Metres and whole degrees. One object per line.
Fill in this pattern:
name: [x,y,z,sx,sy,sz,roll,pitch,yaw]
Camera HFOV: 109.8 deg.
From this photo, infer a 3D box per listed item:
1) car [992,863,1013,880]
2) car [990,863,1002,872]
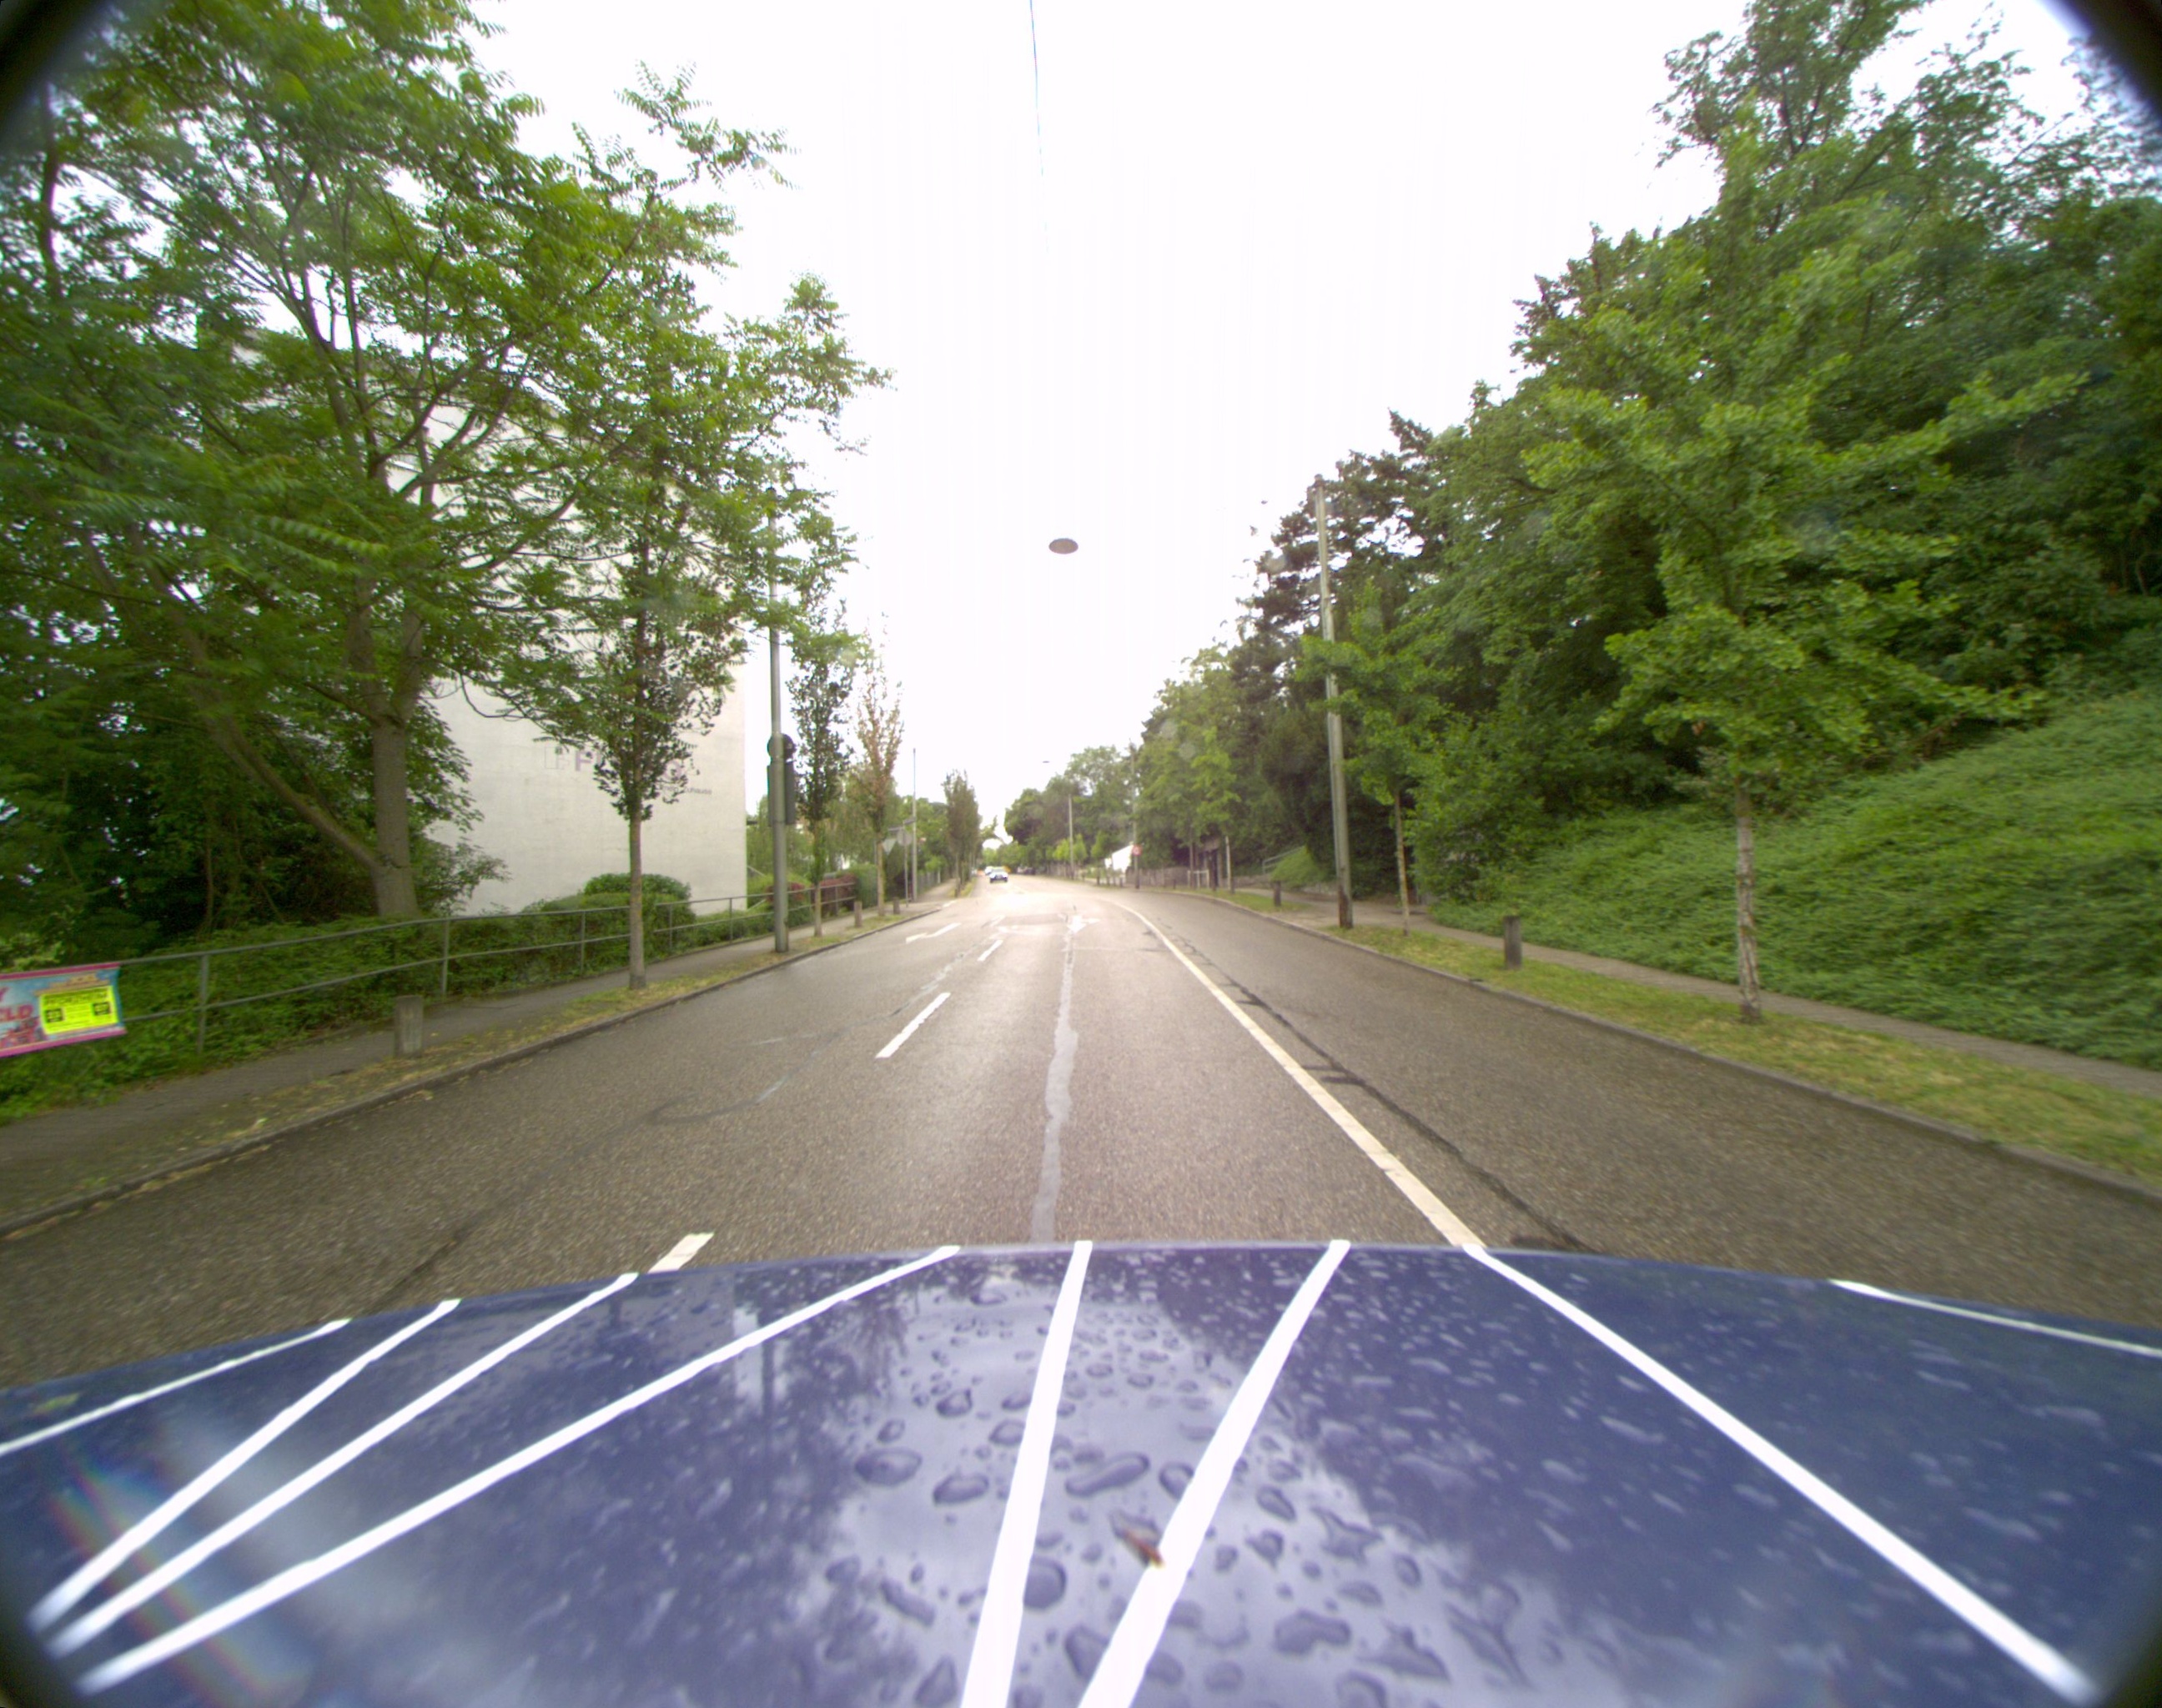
car: [-8.424,1.895,82.093,1.834,1.608,4.292,-2,1,0]
car: [-16.412,2.583,147.154,1.834,1.608,4.350,-2,1,-1]
